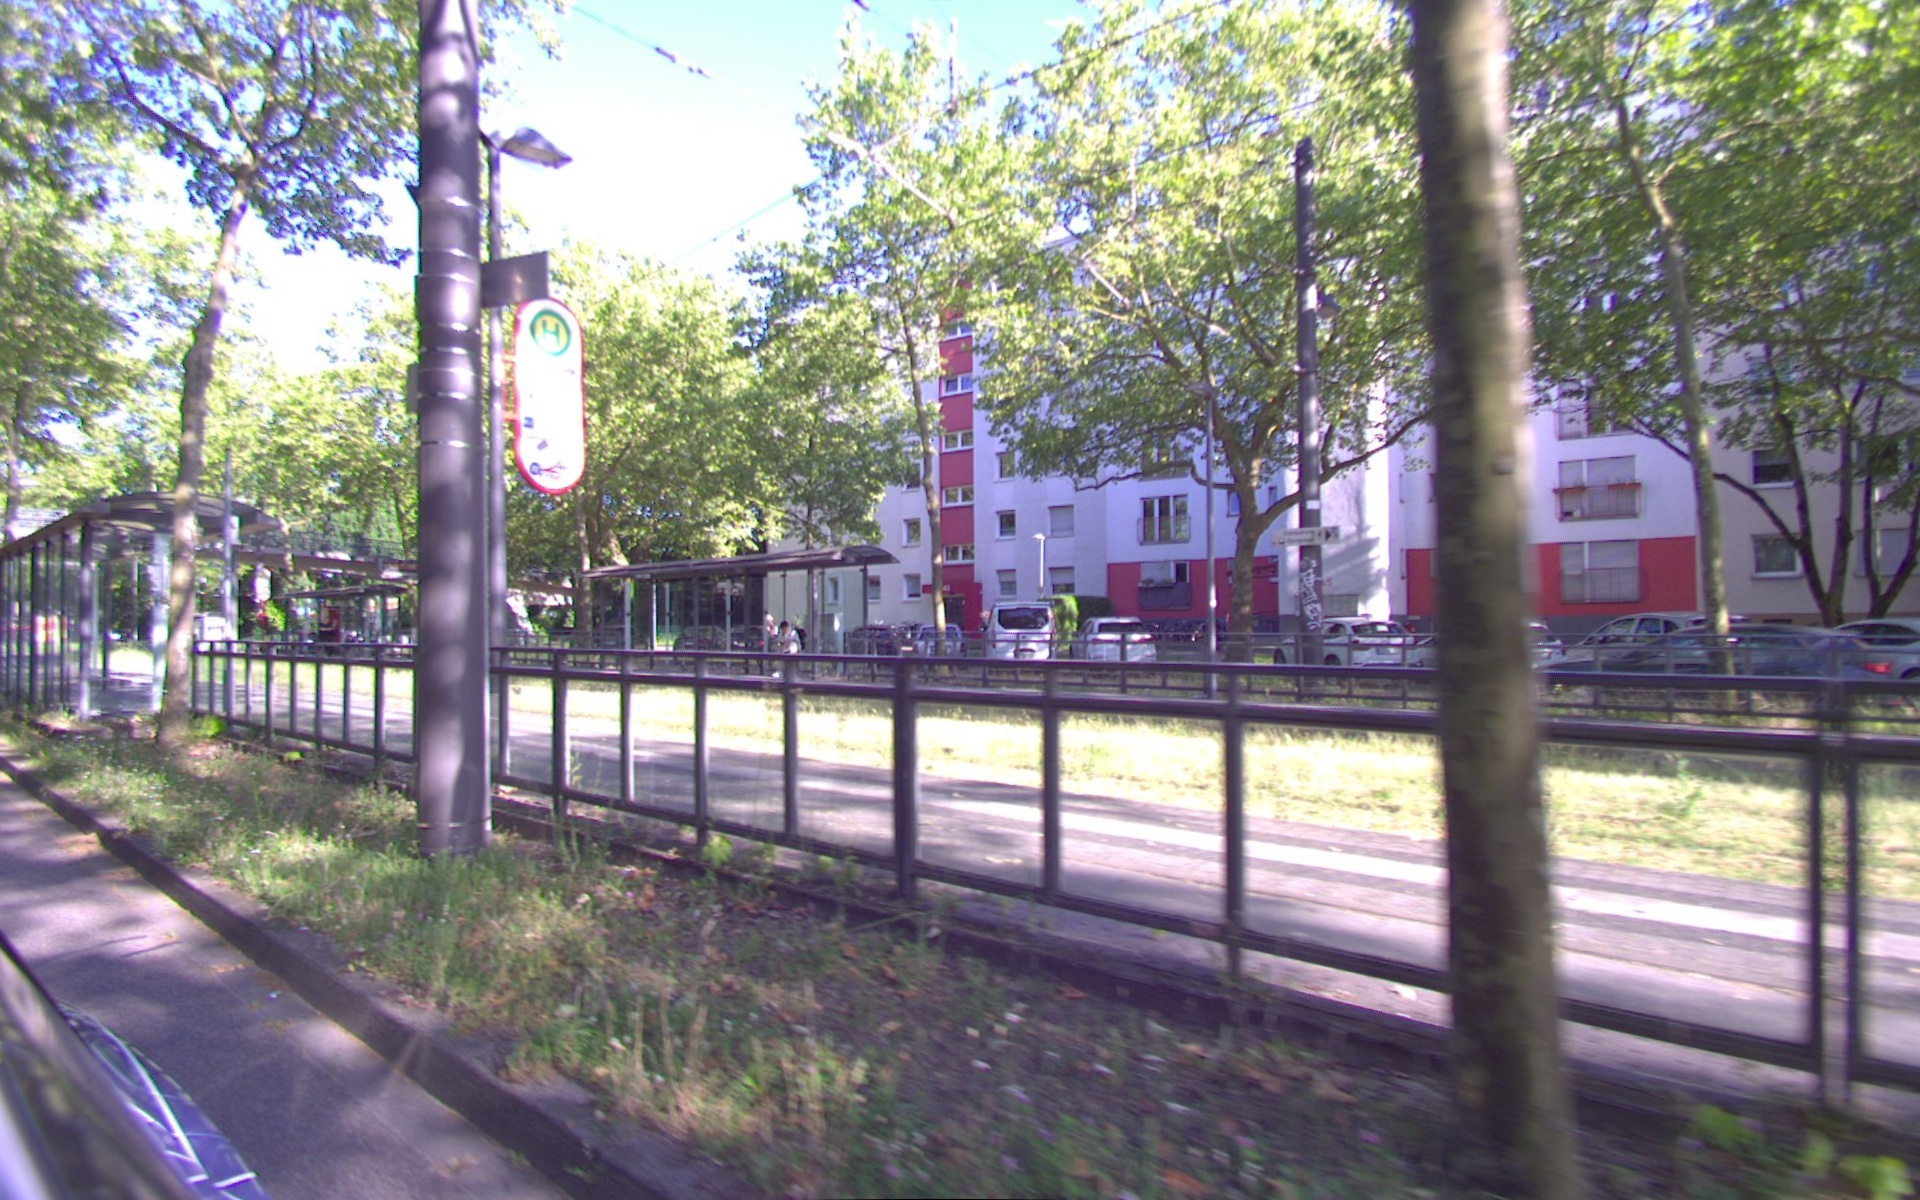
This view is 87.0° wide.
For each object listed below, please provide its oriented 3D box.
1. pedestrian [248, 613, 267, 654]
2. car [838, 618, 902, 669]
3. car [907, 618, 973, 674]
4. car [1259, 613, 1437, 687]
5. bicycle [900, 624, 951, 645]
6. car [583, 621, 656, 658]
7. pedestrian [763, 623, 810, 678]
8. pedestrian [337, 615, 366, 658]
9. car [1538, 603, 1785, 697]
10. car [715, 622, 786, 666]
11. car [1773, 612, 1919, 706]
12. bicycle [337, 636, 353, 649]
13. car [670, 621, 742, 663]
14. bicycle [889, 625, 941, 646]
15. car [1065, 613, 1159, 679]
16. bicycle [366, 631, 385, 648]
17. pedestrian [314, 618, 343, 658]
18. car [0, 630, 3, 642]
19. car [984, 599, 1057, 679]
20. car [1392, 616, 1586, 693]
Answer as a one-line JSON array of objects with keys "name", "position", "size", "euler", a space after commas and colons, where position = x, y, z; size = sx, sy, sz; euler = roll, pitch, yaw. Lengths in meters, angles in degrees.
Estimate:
[{"name": "pedestrian", "position": [-31.304, 1.478, 45.124], "size": [0.477, 1.784, 0.504], "euler": [-1, 0, 0]}, {"name": "car", "position": [-3.022, 1.440, 34.636], "size": [1.873, 1.509, 4.502], "euler": [-2, 0, -2]}, {"name": "car", "position": [-0.659, 1.397, 31.875], "size": [1.873, 1.509, 4.502], "euler": [-2, 0, -2]}, {"name": "car", "position": [8.915, 1.104, 23.738], "size": [1.870, 1.515, 4.508], "euler": [-2, -1, -8]}, {"name": "bicycle", "position": [-1.677, 1.692, 48.887], "size": [2.591, 0.935, 0.689], "euler": [-3, -1, 37]}, {"name": "car", "position": [-14.864, 1.701, 44.394], "size": [1.677, 1.439, 4.198], "euler": [-2, 0, 1]}, {"name": "pedestrian", "position": [-3.715, 1.081, 21.657], "size": [0.662, 1.136, 0.687], "euler": [-1, -4, 41]}, {"name": "pedestrian", "position": [-23.538, 1.410, 39.168], "size": [0.714, 1.647, 0.722], "euler": [-1, -2, 38]}, {"name": "car", "position": [13.528, 0.921, 19.853], "size": [1.551, 1.580, 4.067], "euler": [-2, -1, -8]}, {"name": "car", "position": [-7.824, 1.620, 38.205], "size": [1.677, 1.439, 4.198], "euler": [-2, 0, 1]}, {"name": "car", "position": [16.217, 0.958, 16.925], "size": [1.551, 1.485, 4.067], "euler": [-2, -1, -8]}, {"name": "bicycle", "position": [-36.473, 2.528, 60.029], "size": [1.173, 0.784, 0.429], "euler": [-2, -1, 40]}, {"name": "car", "position": [-9.963, 1.612, 39.996], "size": [1.677, 1.439, 4.198], "euler": [-2, 0, 1]}, {"name": "bicycle", "position": [-2.164, 1.700, 48.314], "size": [2.591, 0.935, 0.689], "euler": [-3, -1, 37]}, {"name": "car", "position": [4.093, 1.216, 27.847], "size": [1.664, 1.623, 4.063], "euler": [-2, -1, -4]}, {"name": "bicycle", "position": [-35.104, 2.388, 60.727], "size": [1.685, 1.016, 0.429], "euler": [-2, -1, 40]}, {"name": "pedestrian", "position": [-24.282, 1.454, 38.932], "size": [0.681, 1.525, 0.638], "euler": [-1, -3, 28]}, {"name": "car", "position": [-127.467, 4.818, 132.267], "size": [1.857, 1.579, 4.011], "euler": [-1, 0, -15]}, {"name": "car", "position": [1.687, 1.070, 29.458], "size": [1.874, 2.078, 4.498], "euler": [-2, 0, 1]}, {"name": "car", "position": [11.207, 1.100, 21.805], "size": [1.551, 1.443, 4.067], "euler": [-2, -1, -8]}]
